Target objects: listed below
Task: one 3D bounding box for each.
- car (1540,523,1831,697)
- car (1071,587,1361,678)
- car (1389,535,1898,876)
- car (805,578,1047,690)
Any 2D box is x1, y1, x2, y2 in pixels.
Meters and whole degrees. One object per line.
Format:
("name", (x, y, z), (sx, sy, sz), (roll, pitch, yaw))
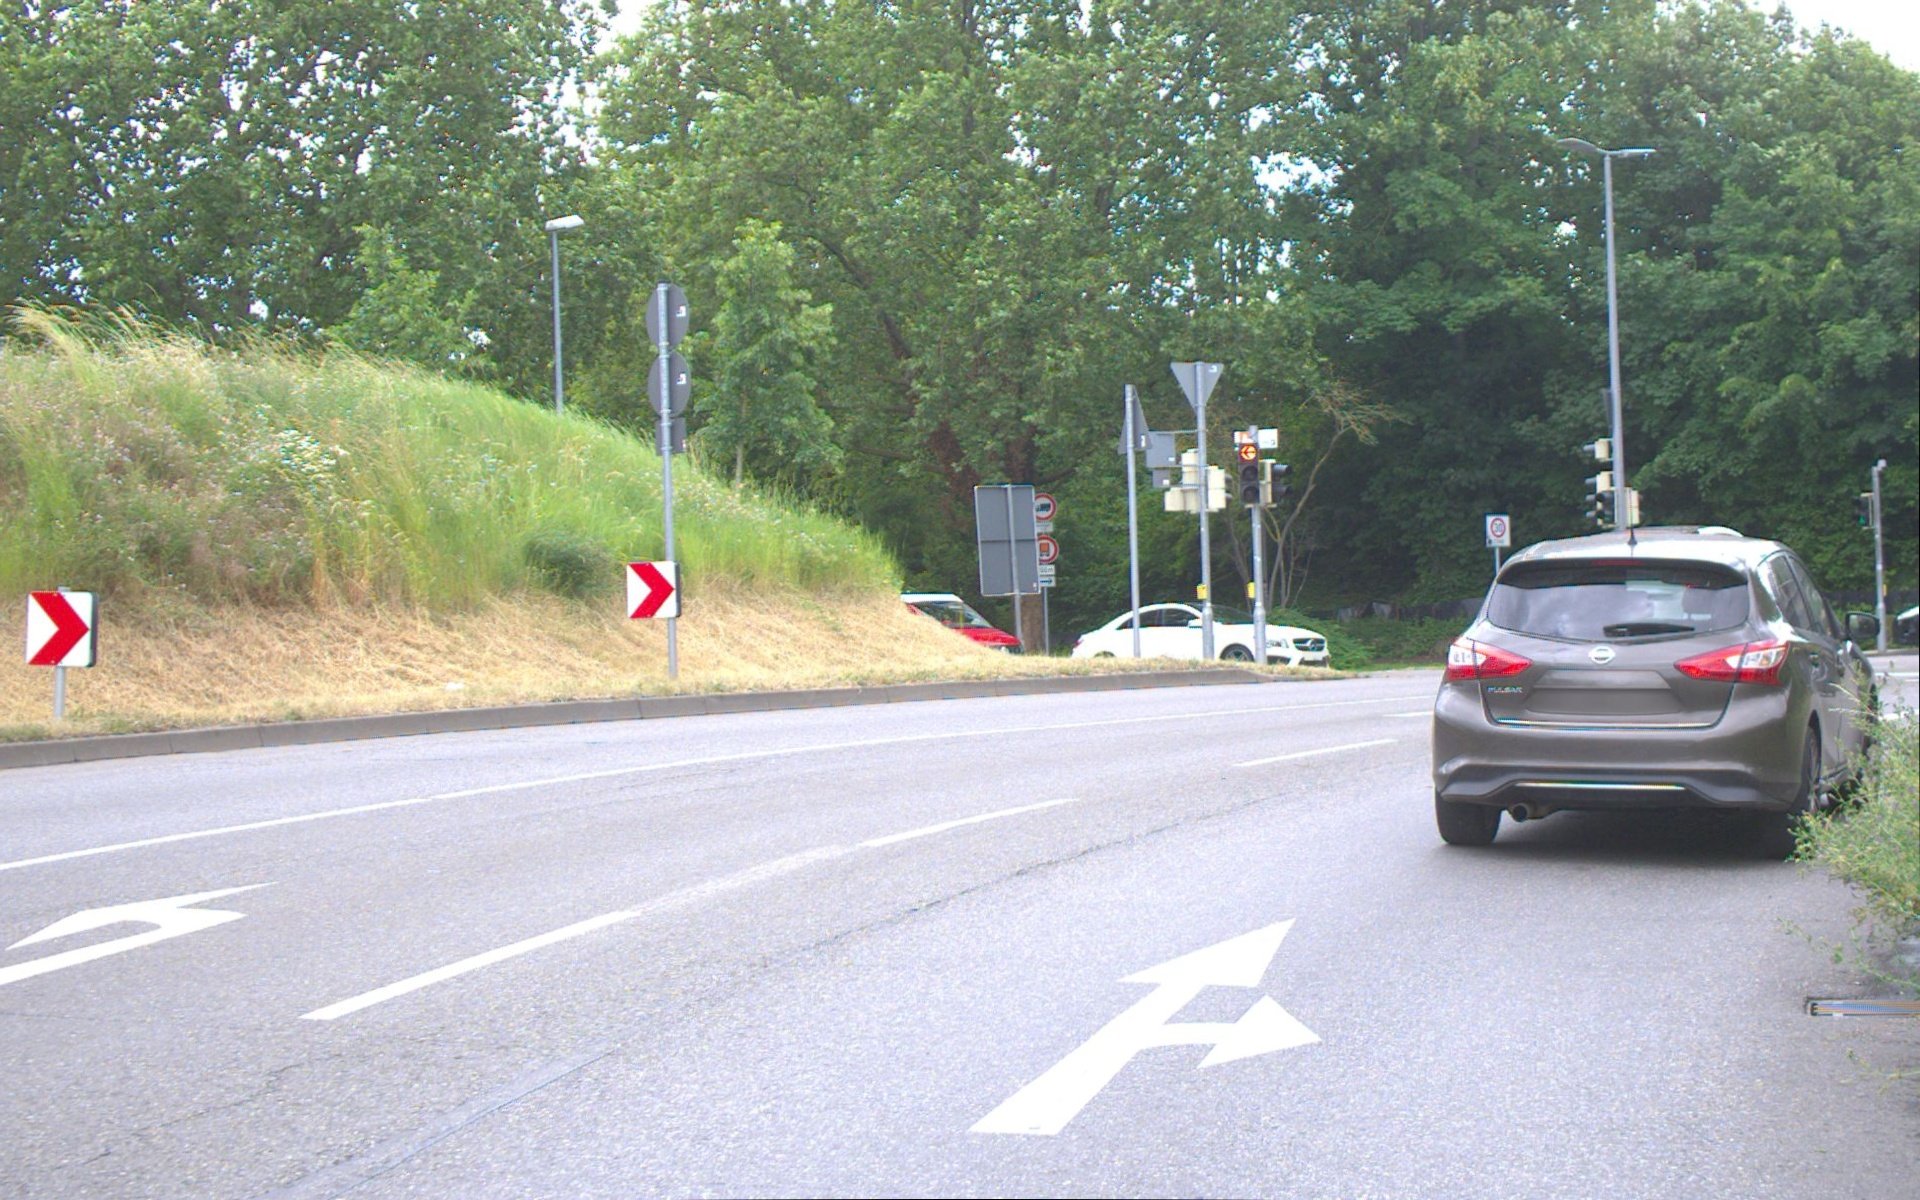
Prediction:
("car", (6.967, 0.071, 32.867), (1.579, 1.552, 3.010), (2, 1, 37))
("car", (4.181, 0.563, 56.460), (4.415, 1.334, 1.995), (-3, -3, 41))
("car", (3.600, 0.439, 17.537), (1.847, 1.488, 3.996), (1, 1, 21))
("car", (-0.629, 0.609, 61.181), (4.035, 1.807, 1.851), (-3, -2, 41))
